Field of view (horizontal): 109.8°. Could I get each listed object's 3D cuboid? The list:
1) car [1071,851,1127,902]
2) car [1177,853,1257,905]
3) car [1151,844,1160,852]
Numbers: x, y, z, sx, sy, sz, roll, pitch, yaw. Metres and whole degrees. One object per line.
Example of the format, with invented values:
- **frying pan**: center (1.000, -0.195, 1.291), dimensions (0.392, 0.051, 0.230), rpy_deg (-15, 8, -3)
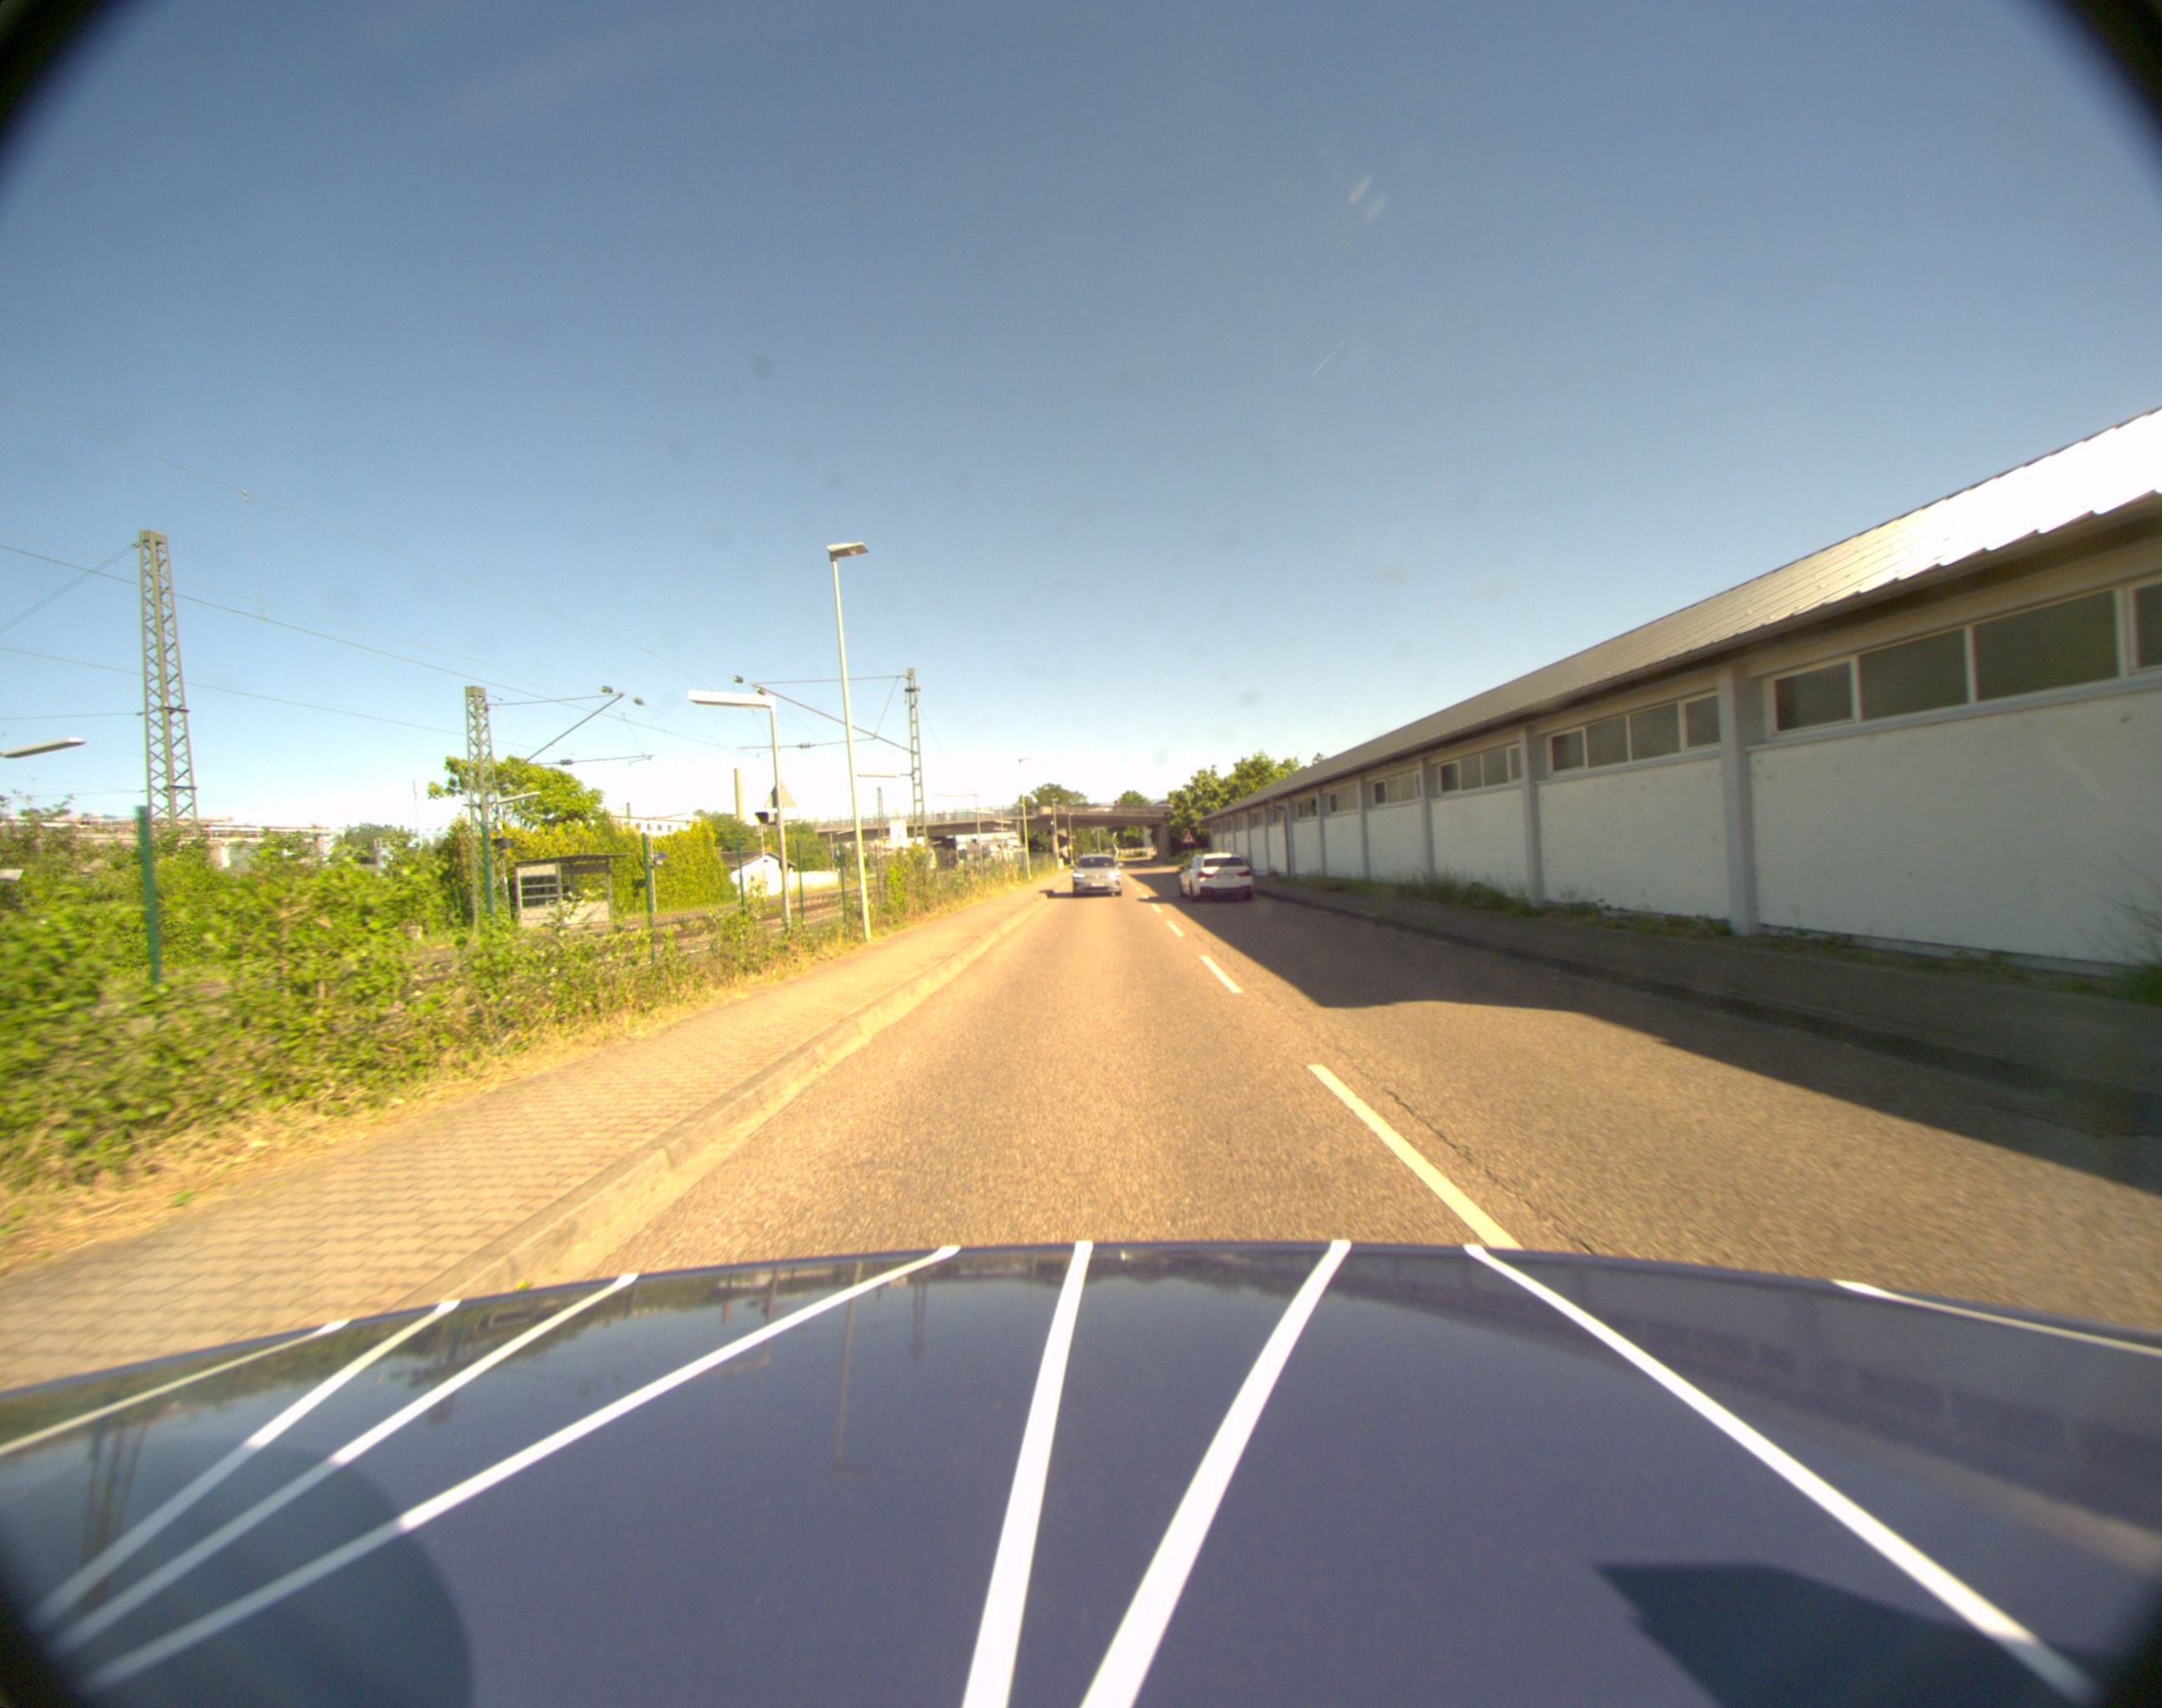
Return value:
- **car**: center (0.663, 0.779, 28.581), dimensions (1.850, 1.621, 4.295), rpy_deg (-3, 1, 1)
- **car**: center (4.308, 0.727, 24.783), dimensions (1.813, 1.469, 4.688), rpy_deg (-2, 0, 1)
- **car**: center (18.939, -1.489, 193.110), dimensions (1.997, 1.767, 4.367), rpy_deg (-3, 1, 7)
